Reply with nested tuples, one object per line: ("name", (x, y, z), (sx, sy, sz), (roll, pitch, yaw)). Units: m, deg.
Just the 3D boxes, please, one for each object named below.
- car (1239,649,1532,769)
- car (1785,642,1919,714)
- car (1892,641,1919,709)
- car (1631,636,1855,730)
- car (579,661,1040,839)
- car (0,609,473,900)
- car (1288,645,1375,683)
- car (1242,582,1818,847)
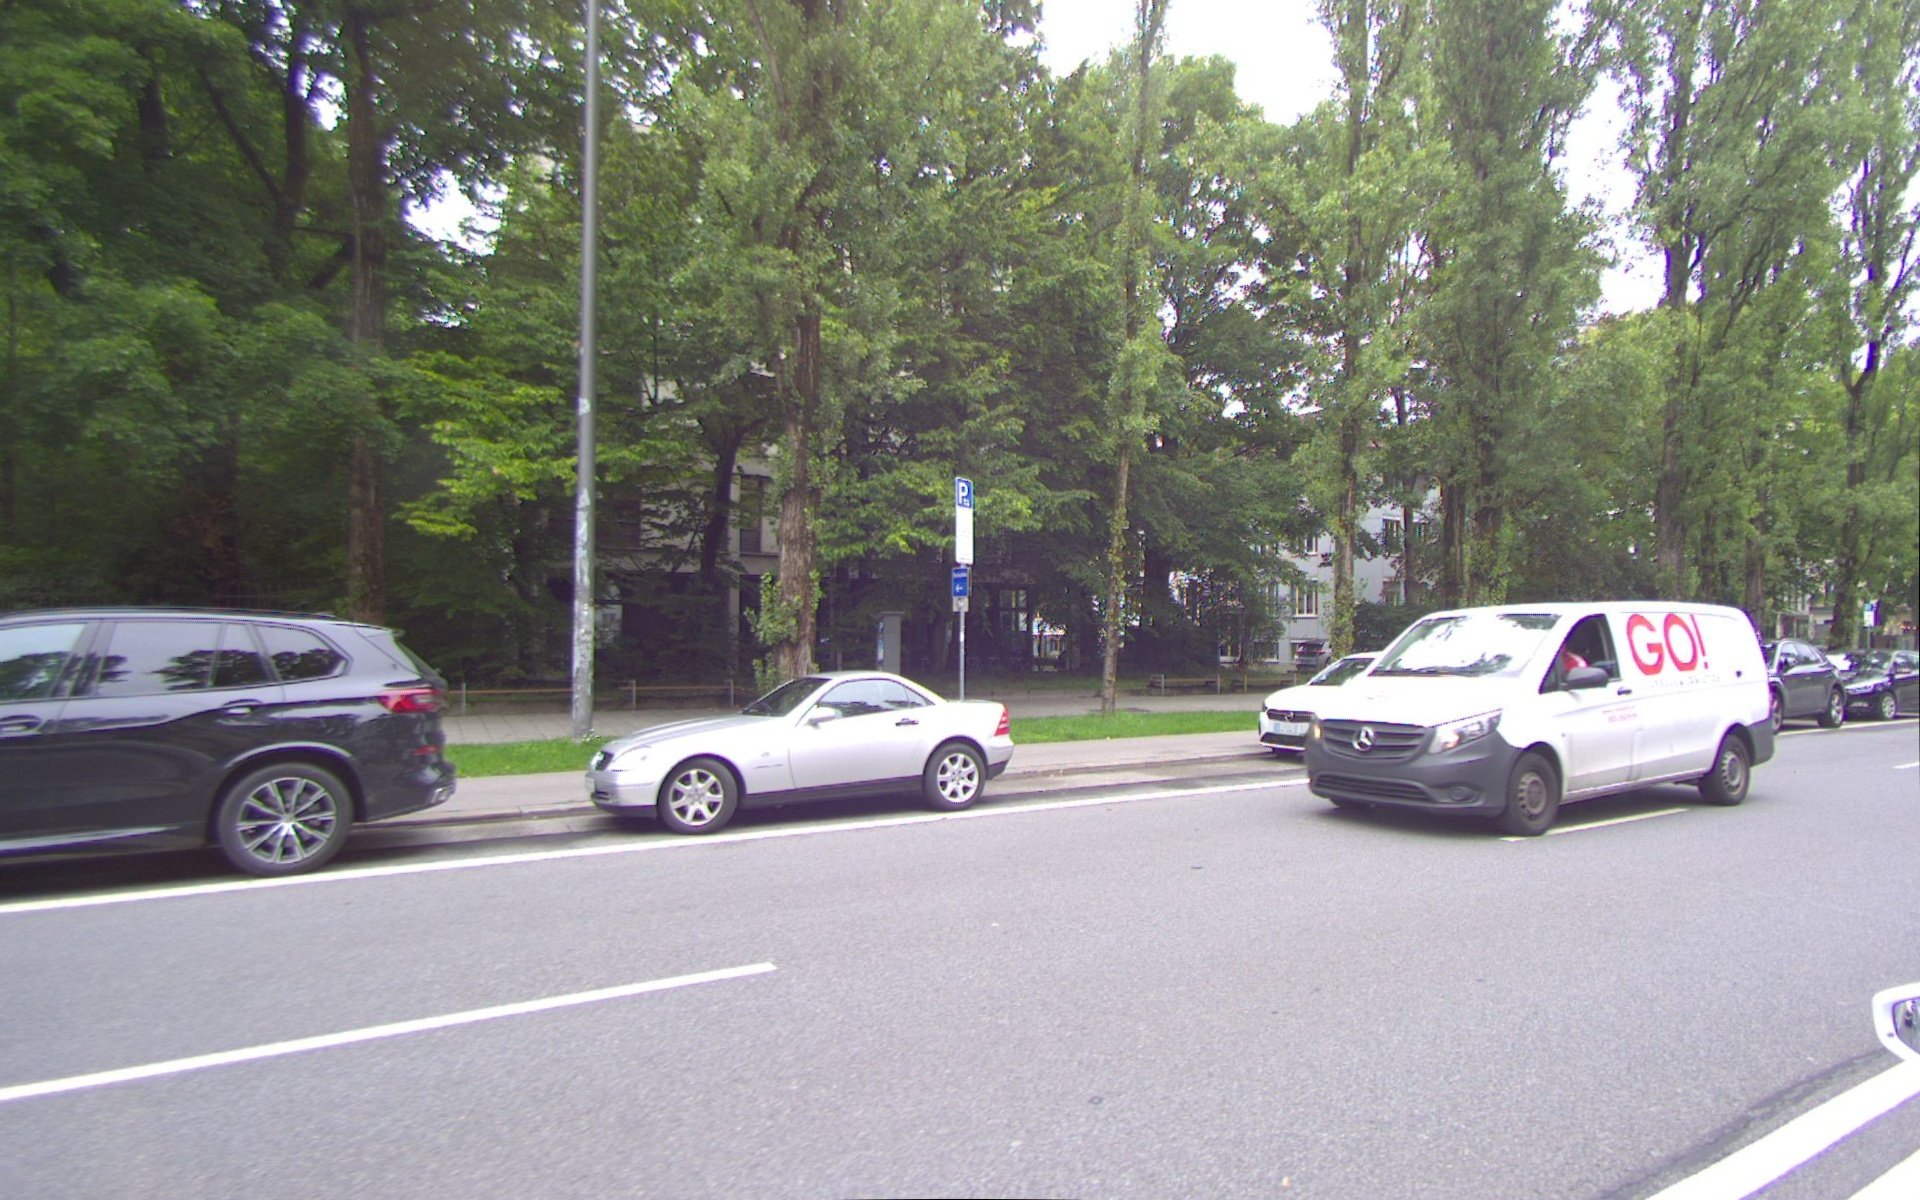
("car", (5.867, 1.398, 13.764), (3.958, 1.431, 1.677), (2, -3, -31))
("car", (19.716, 1.668, 21.799), (3.824, 1.451, 1.532), (2, -5, -31))
("car", (24.007, 1.796, 24.133), (3.402, 1.572, 1.404), (2, -2, -29))
("car", (14.539, 1.500, 18.603), (4.288, 1.568, 1.783), (2, -5, -31))
("car", (-1.346, 1.252, 9.389), (3.979, 1.321, 1.574), (1, -3, -29))
("car", (-5.918, 0.954, 6.707), (4.664, 1.680, 1.871), (1, -4, -31))
("car", (17.903, 3.022, 48.352), (4.227, 1.706, 1.979), (2, -2, -37))
("car", (5.564, 0.946, 9.615), (5.626, 1.916, 2.174), (2, -3, -29))
